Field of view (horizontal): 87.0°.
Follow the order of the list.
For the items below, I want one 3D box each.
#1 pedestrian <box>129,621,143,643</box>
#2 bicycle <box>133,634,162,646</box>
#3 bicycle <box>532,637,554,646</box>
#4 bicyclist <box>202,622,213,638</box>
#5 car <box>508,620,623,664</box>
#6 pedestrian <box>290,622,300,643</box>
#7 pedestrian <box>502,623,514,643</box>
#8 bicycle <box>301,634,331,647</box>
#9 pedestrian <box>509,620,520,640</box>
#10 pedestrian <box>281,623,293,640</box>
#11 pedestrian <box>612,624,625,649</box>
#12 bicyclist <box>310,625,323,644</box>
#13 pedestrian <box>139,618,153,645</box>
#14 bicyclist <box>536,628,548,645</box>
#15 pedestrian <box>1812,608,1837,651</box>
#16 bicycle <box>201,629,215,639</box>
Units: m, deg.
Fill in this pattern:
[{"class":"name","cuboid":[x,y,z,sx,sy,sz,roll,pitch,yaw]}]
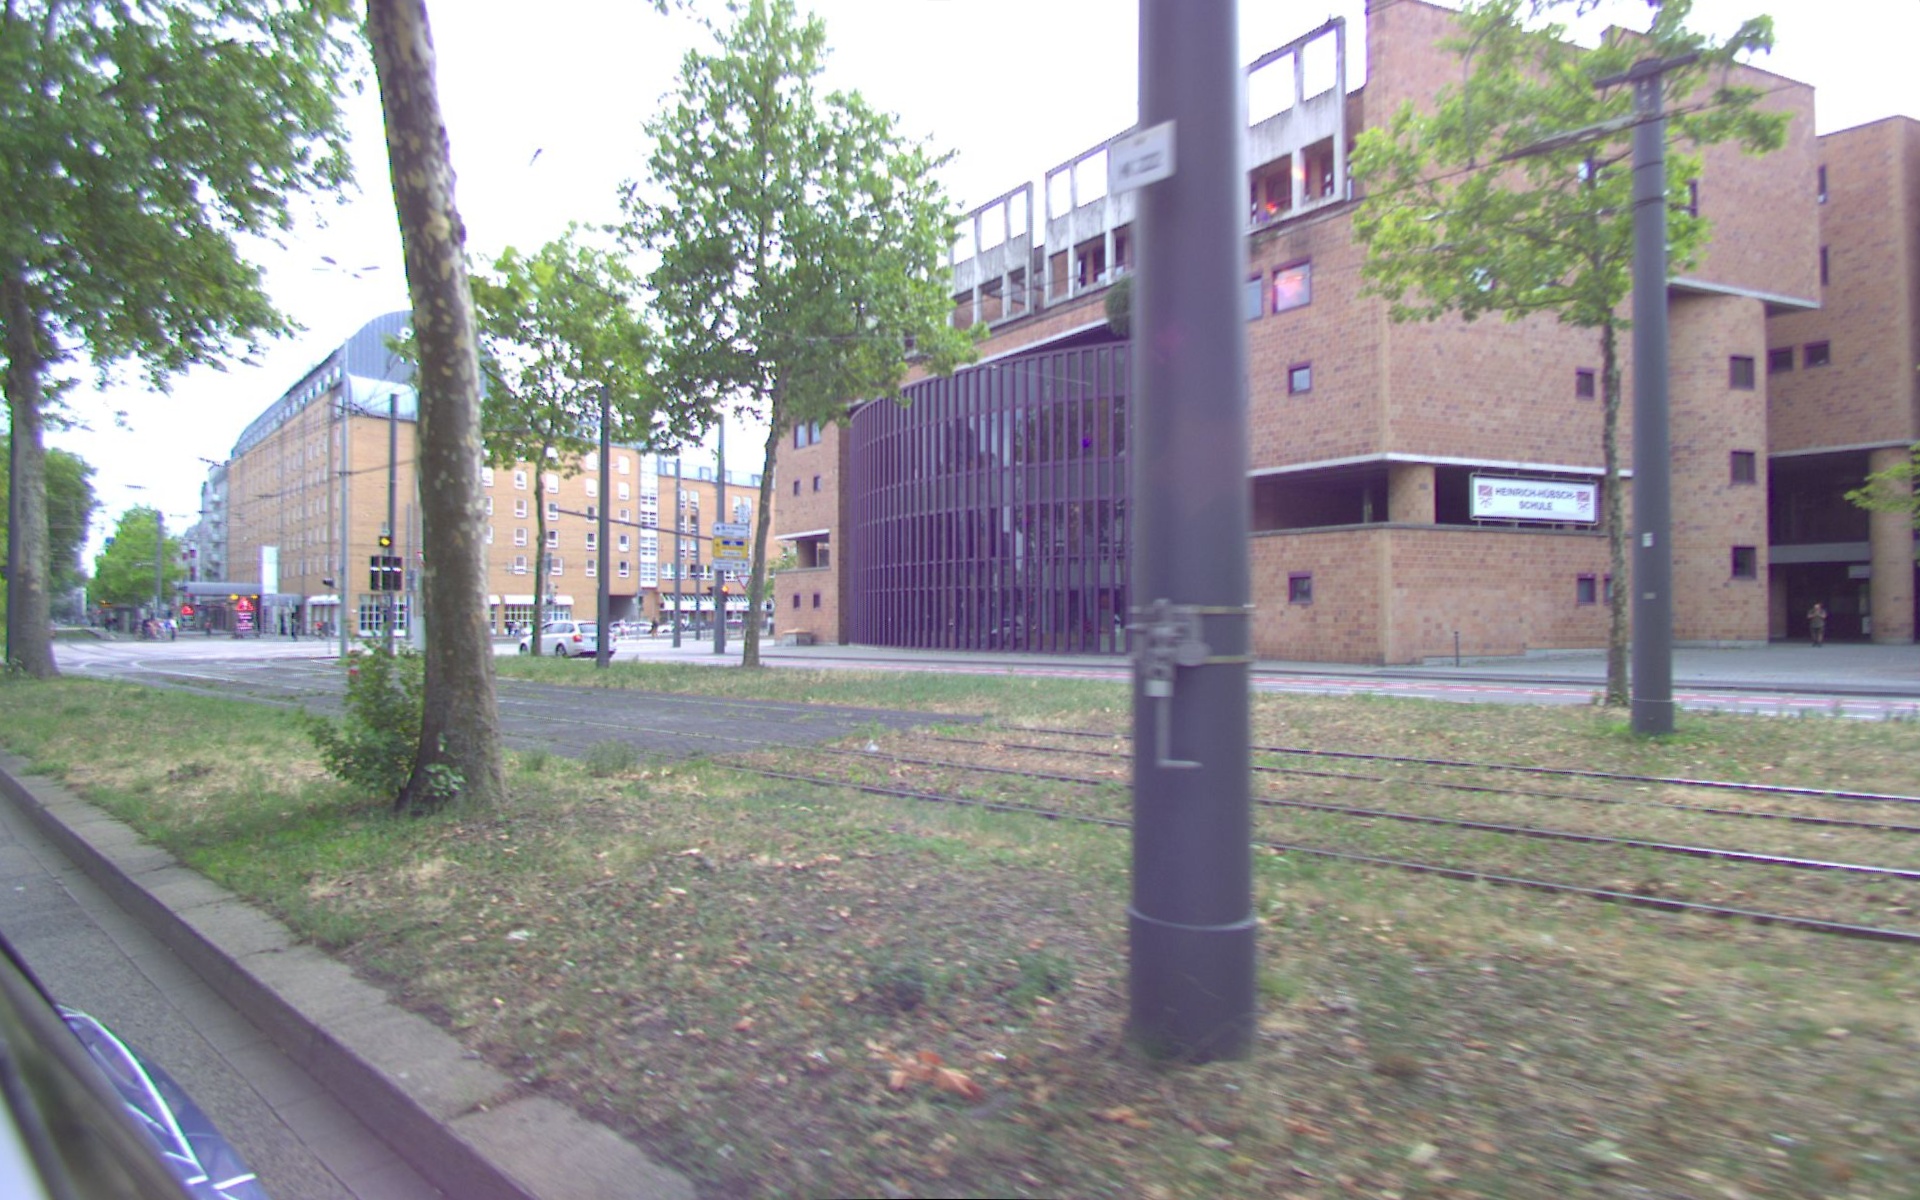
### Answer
[{"class":"pedestrian","cuboid":[-63.474,2.453,77.973,0.533,1.719,0.677,0,-1,33]},{"class":"bicycle","cuboid":[-61.684,3.018,76.853,0.499,0.895,1.687,-1,-1,44]},{"class":"bicycle","cuboid":[-38.168,3.775,92.544,0.639,0.787,1.773,-1,-1,39]},{"class":"bicyclist","cuboid":[-73.185,2.925,98.482,0.816,1.512,0.643,-1,-1,37]},{"class":"car","cuboid":[-13.878,1.435,35.475,4.655,1.432,1.765,-1,-2,40]},{"class":"pedestrian","cuboid":[-55.126,2.679,83.872,0.534,1.719,0.556,-1,-1,42]},{"class":"pedestrian","cuboid":[-39.206,2.848,87.795,0.749,1.745,0.571,0,-1,35]},{"class":"bicycle","cuboid":[-53.233,3.316,83.646,2.026,1.016,0.641,1,-1,-35]},{"class":"pedestrian","cuboid":[-38.926,2.613,88.406,0.749,1.745,0.571,0,-1,35]},{"class":"pedestrian","cuboid":[-59.387,2.774,89.327,0.642,1.518,0.533,0,-1,7]},{"class":"pedestrian","cuboid":[-24.834,2.656,73.658,0.750,1.745,0.571,-1,-1,40]},{"class":"bicyclist","cuboid":[-53.198,2.856,83.676,0.851,1.512,0.638,1,-1,-35]},{"class":"pedestrian","cuboid":[-61.565,2.375,76.563,0.534,1.966,0.684,-1,-1,39]},{"class":"bicyclist","cuboid":[-38.209,3.323,92.522,0.636,1.512,0.854,-1,-1,39]},{"class":"pedestrian","cuboid":[31.227,1.052,36.556,0.500,1.543,0.521,0,-2,-34]},{"class":"bicycle","cuboid":[-73.168,3.310,98.461,1.890,0.943,0.651,0,-1,37]}]
